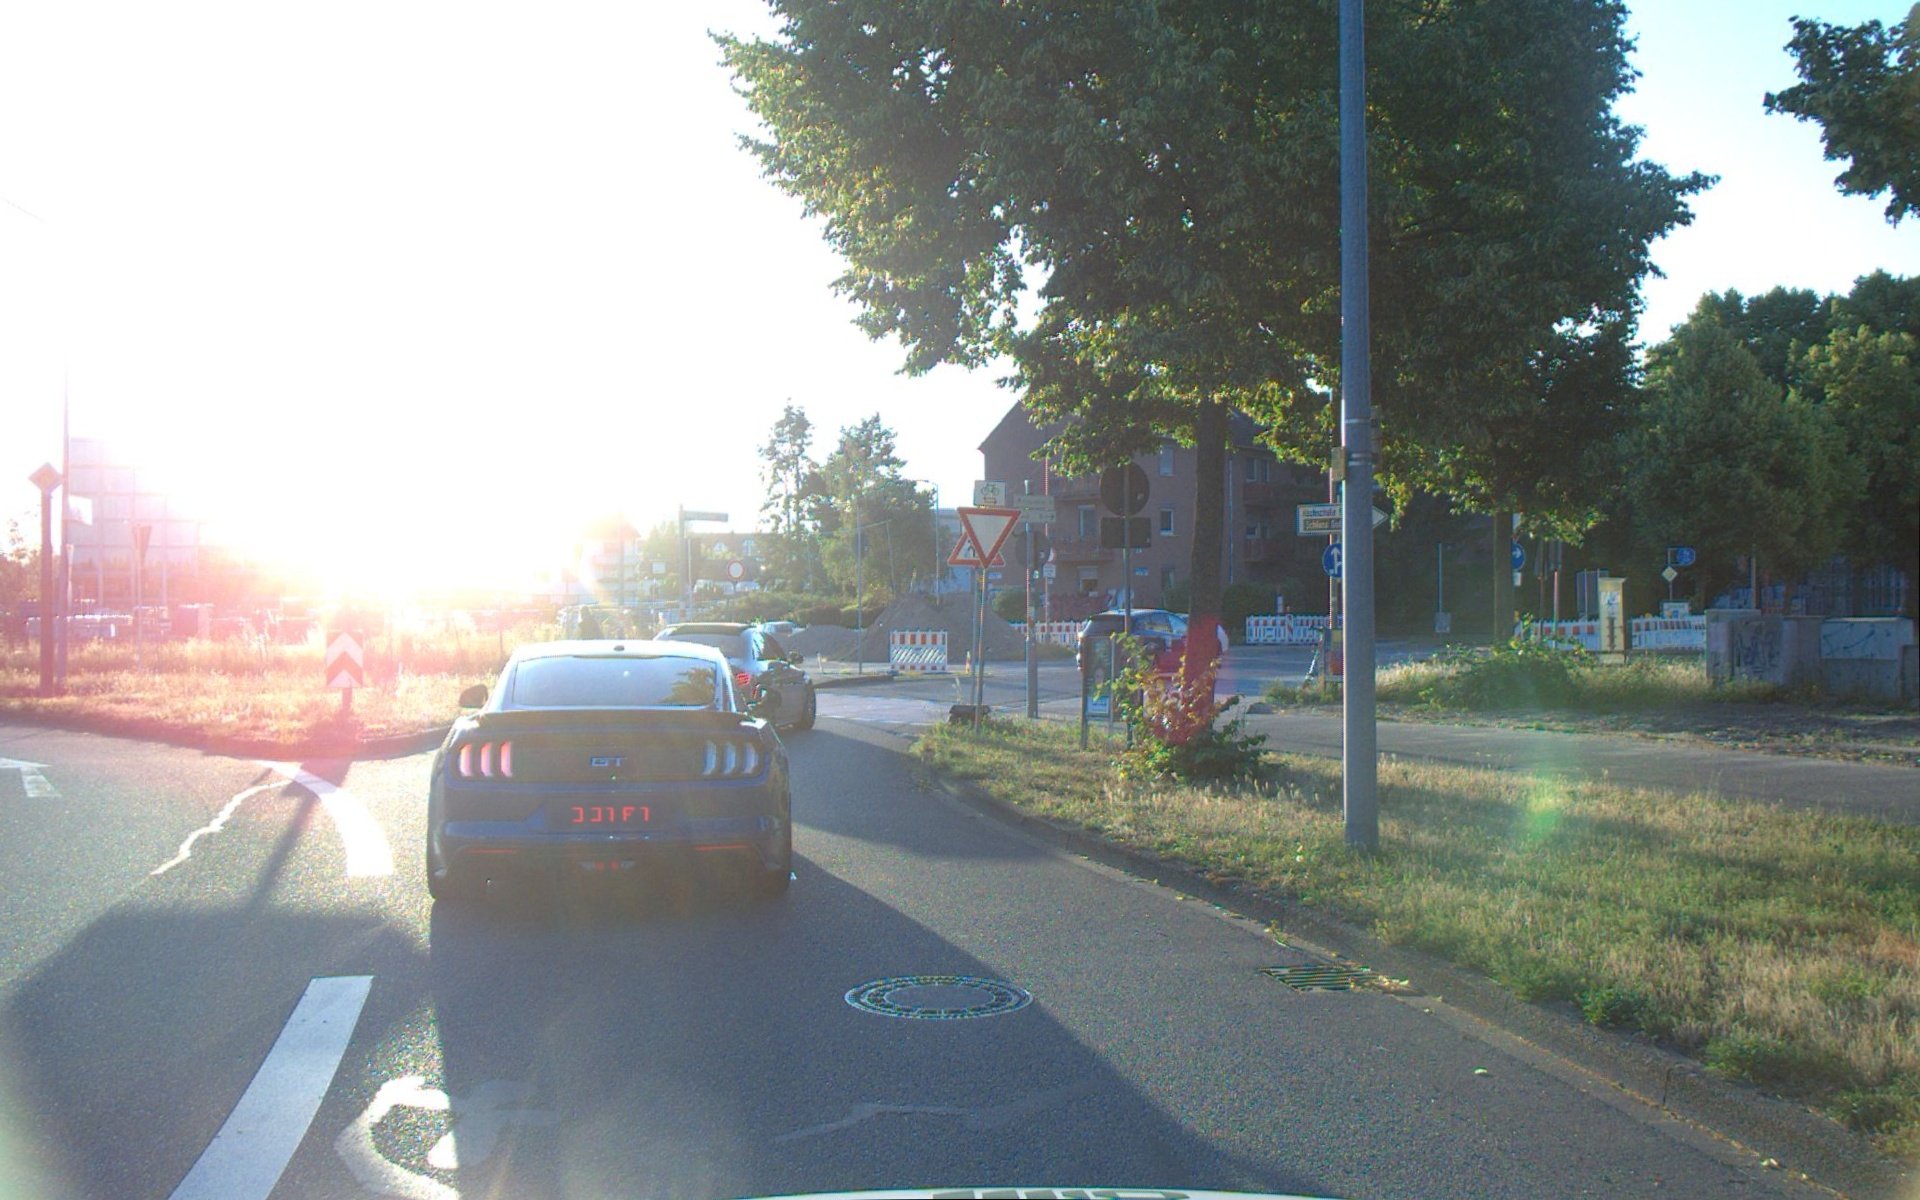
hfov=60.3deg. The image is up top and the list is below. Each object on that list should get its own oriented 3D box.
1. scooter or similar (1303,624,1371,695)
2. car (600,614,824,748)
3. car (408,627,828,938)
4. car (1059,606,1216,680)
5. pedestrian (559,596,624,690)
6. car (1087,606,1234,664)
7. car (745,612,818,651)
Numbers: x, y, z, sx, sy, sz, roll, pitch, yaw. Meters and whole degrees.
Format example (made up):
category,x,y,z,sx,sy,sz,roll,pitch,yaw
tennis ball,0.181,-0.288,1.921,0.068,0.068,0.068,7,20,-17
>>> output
category,x,y,z,sx,sy,sz,roll,pitch,yaw
scooter or similar,6.785,1.061,29.764,1.099,1.260,0.441,0,0,-9
car,-3.001,0.952,20.971,1.910,1.452,4.431,2,-1,3
car,-2.058,0.872,10.012,1.917,1.365,4.656,0,0,-12
car,4.203,0.978,38.710,1.918,1.630,4.062,-2,-1,36
pedestrian,-6.898,0.787,30.941,0.872,1.716,0.841,-1,-1,43
car,6.376,1.069,52.312,4.611,1.478,2.046,-3,4,-39
car,-8.290,1.455,76.650,1.972,1.736,3.960,0,-1,-30
